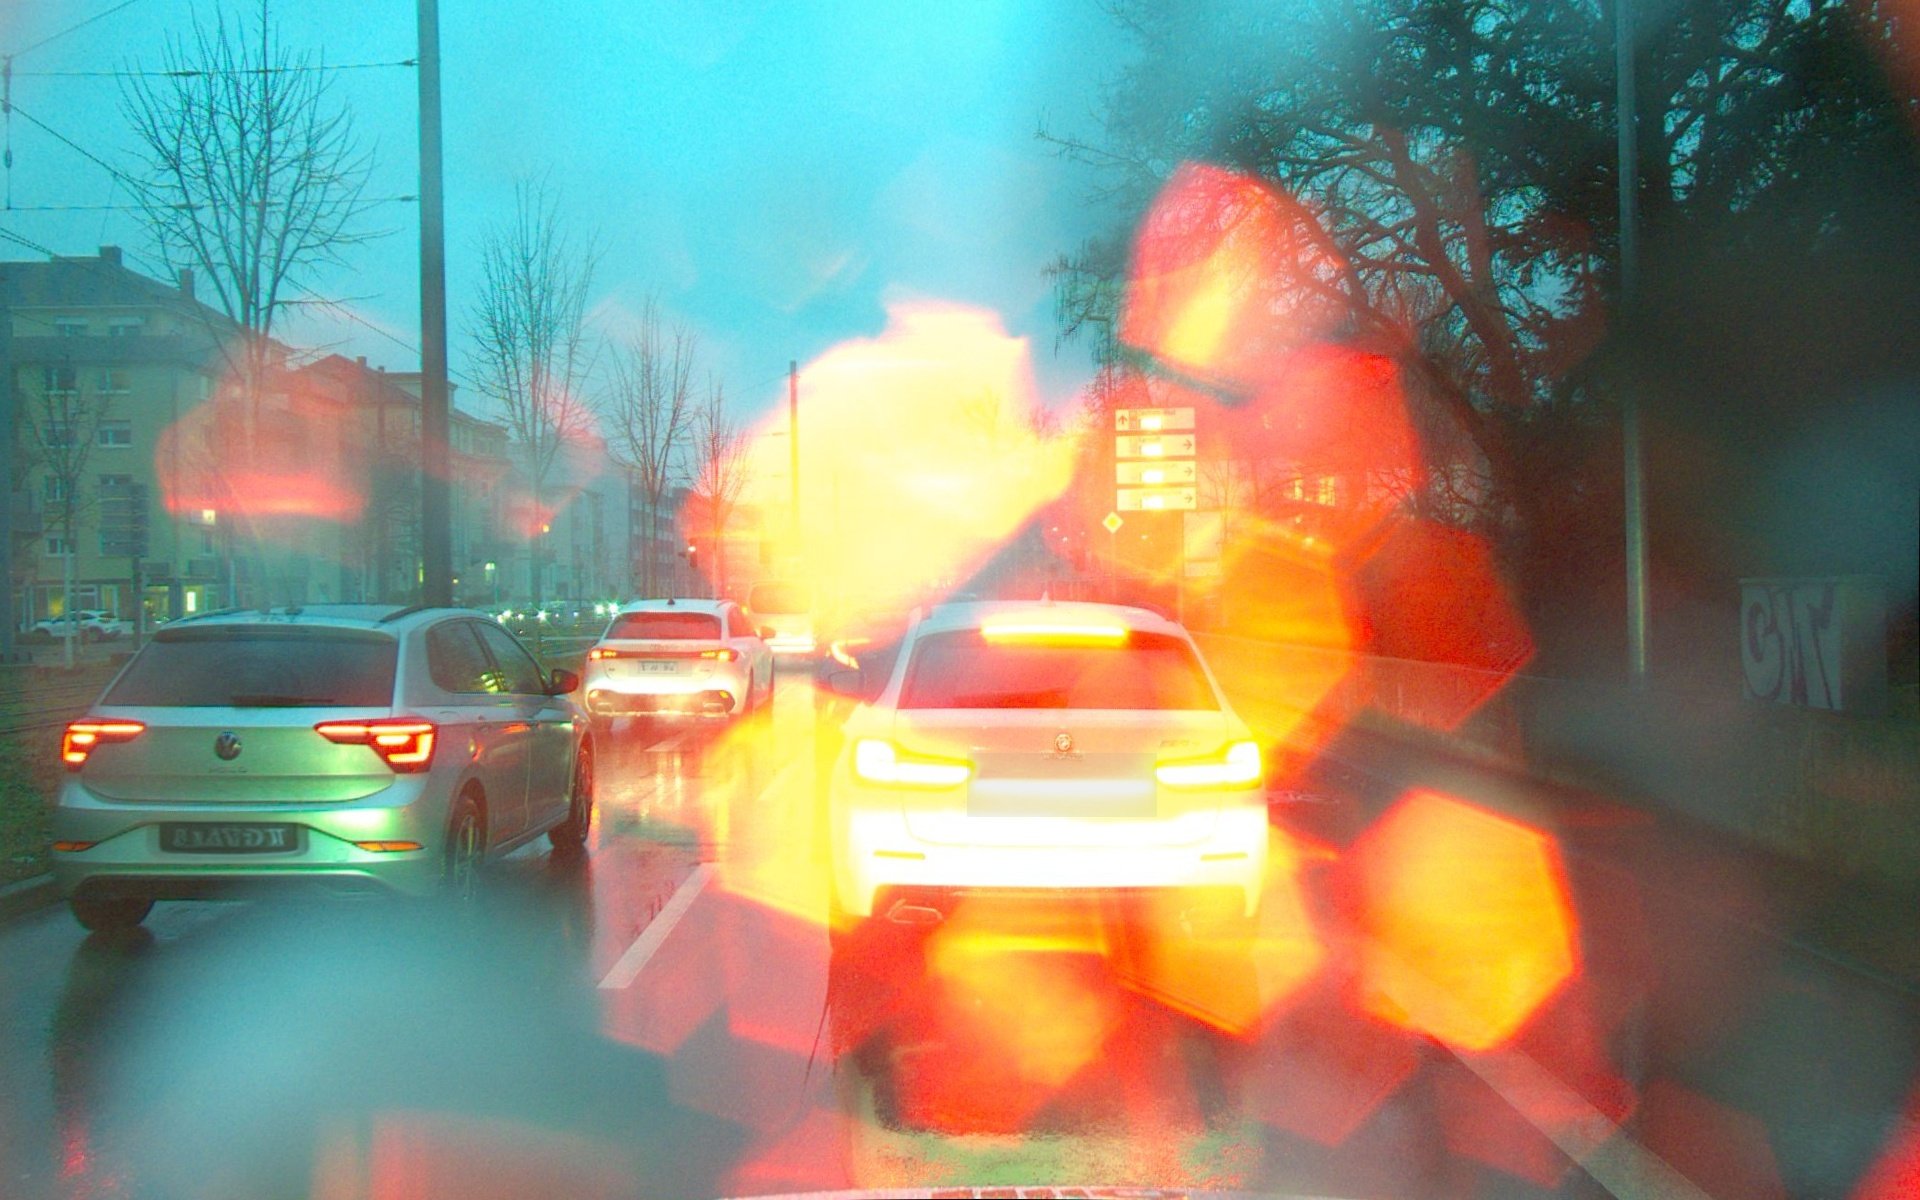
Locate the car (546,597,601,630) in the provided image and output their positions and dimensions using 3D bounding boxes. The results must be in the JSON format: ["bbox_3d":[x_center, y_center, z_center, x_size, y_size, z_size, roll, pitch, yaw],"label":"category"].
[{"bbox_3d":[-19.634,0.673,84.251,1.953,1.630,3.998,1,0,-2],"label":"car"}]

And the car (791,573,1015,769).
[{"bbox_3d":[-0.480,0.565,15.111,1.763,1.537,3.894,-1,0,-1],"label":"car"}]

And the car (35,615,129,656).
[{"bbox_3d":[-43.740,1.769,82.485,3.679,1.976,1.838,1,0,-9],"label":"car"}]

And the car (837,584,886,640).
[{"bbox_3d":[-3.102,0.379,51.731,1.476,1.681,2.842,1,0,-4],"label":"car"}]

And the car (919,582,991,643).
[{"bbox_3d":[-0.148,0.290,41.665,1.702,1.444,3.702,-1,0,-1],"label":"car"}]

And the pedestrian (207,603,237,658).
[{"bbox_3d":[-27.920,1.142,62.614,0.945,2.049,1.001,-1,0,-21],"label":"pedestrian"}]

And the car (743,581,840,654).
[{"bbox_3d":[-3.592,0.346,35.941,1.702,1.444,4.393,-1,0,-1],"label":"car"}]

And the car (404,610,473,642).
[{"bbox_3d":[-23.526,1.171,74.731,1.821,1.355,4.314,1,0,-1],"label":"car"}]

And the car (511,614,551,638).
[{"bbox_3d":[-24.767,1.462,95.607,1.659,1.300,4.142,-1,0,-7],"label":"car"}]

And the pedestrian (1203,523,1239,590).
[{"bbox_3d":[8.132,-1.343,51.590,0.939,2.049,1.008,-1,0,1],"label":"pedestrian"}]

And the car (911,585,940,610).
[{"bbox_3d":[-2.100,-0.177,101.939,1.702,1.444,4.145,-1,0,-1],"label":"car"}]

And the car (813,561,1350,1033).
[{"bbox_3d":[0.386,0.663,8.169,1.825,1.583,4.937,-1,0,-1],"label":"car"}]

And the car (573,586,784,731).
[{"bbox_3d":[-3.193,0.600,19.652,1.762,1.492,4.585,-1,0,-1],"label":"car"}]

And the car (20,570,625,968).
[{"bbox_3d":[-2.915,0.657,8.525,1.659,1.560,3.999,0,0,-2],"label":"car"}]

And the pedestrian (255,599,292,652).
[{"bbox_3d":[-26.995,0.996,65.031,1.253,2.049,1.000,-1,0,-25],"label":"pedestrian"}]

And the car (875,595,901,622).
[{"bbox_3d":[-3.791,0.447,86.801,1.336,1.339,2.714,1,0,-3],"label":"car"}]

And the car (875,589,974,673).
[{"bbox_3d":[-0.648,0.533,30.732,1.702,1.444,3.702,-1,0,-1],"label":"car"}]
